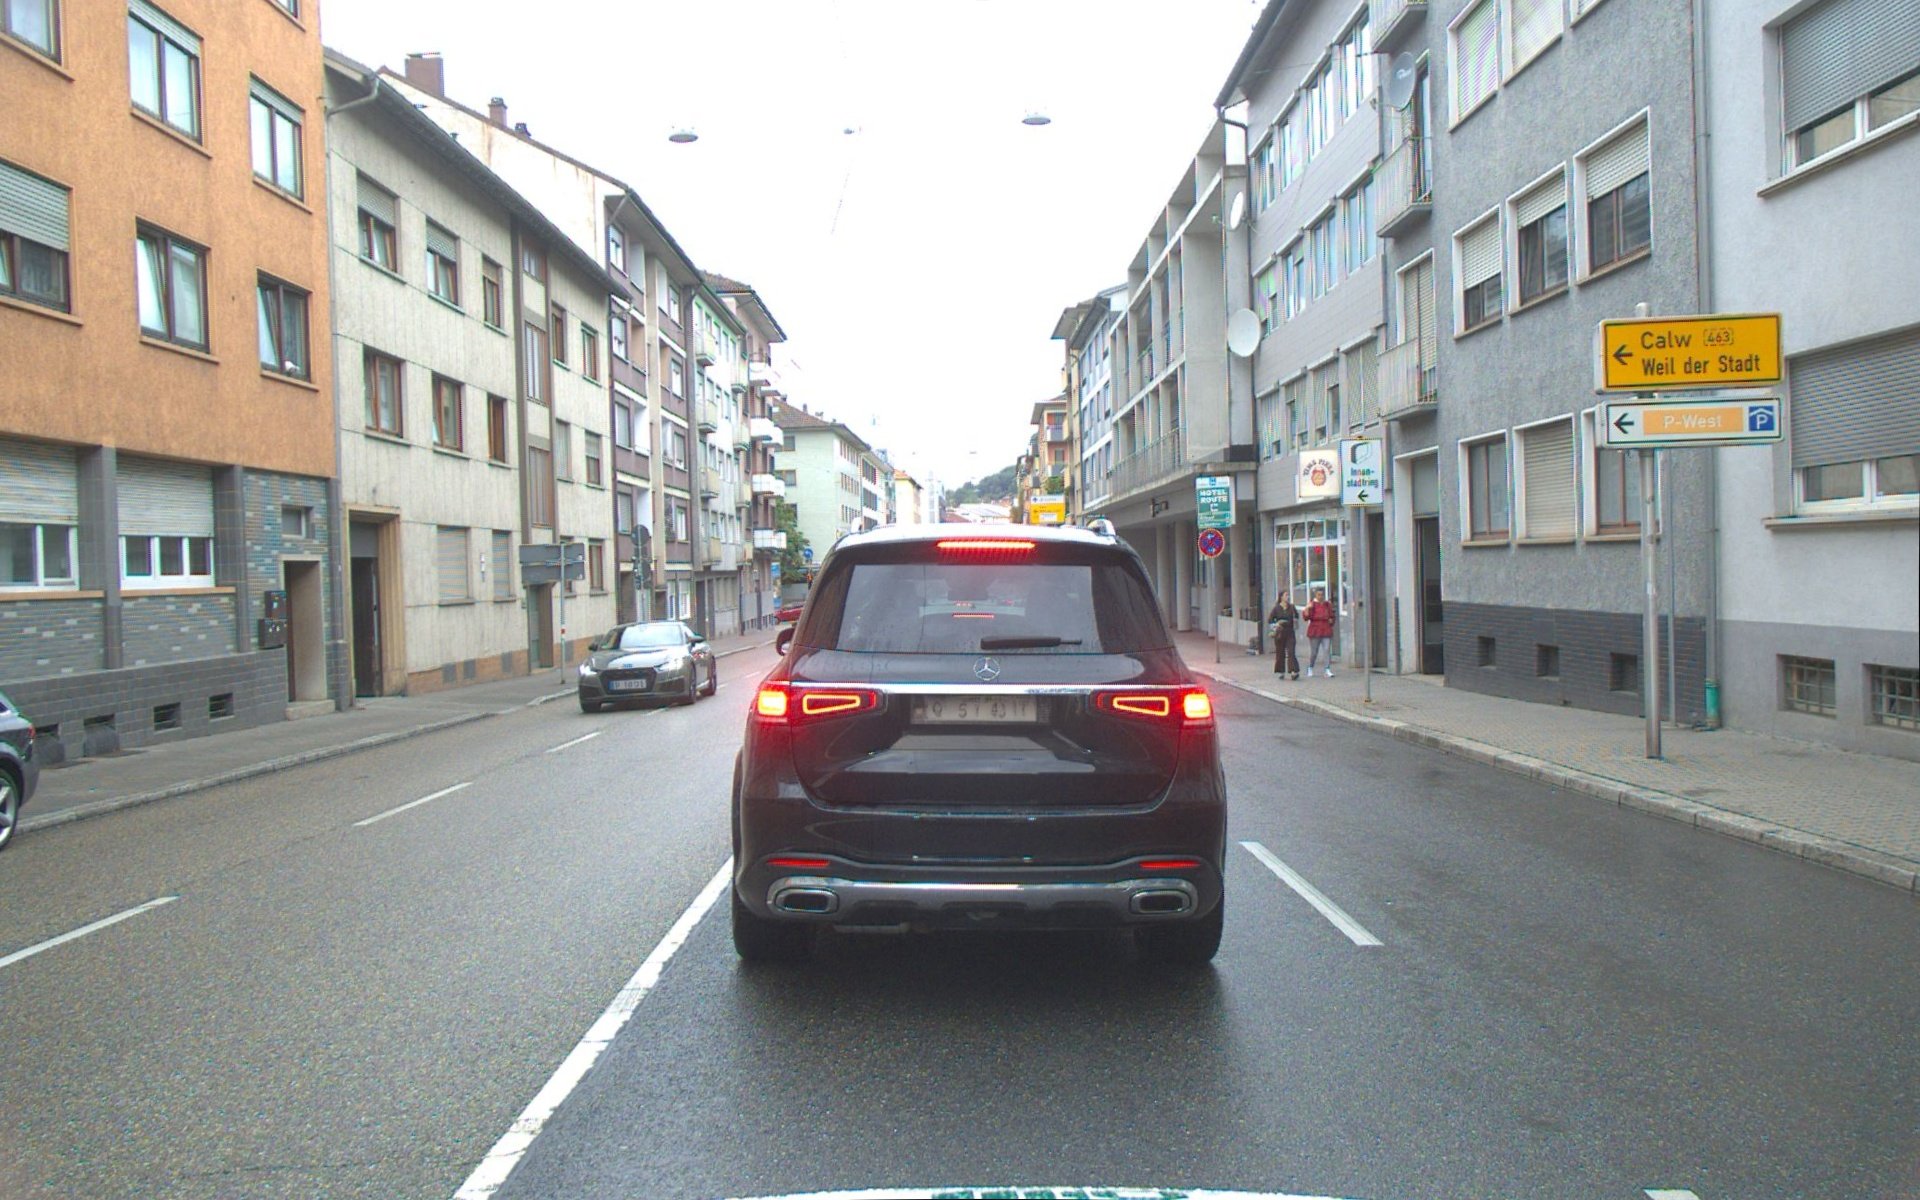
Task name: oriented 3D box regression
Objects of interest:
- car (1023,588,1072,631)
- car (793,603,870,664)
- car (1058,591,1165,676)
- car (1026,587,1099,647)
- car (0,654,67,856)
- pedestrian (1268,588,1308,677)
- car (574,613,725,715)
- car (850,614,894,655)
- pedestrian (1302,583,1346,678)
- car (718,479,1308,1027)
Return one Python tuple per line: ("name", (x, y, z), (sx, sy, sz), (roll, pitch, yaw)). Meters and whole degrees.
("car", (3.410, 0.371, 65.254), (1.771, 1.634, 4.212), (0, 0, 1))
("car", (-3.304, 0.827, 43.181), (1.690, 1.414, 4.338), (-3, 0, -1))
("car", (2.993, 0.636, 33.420), (1.731, 1.608, 3.999), (0, 0, -1))
("car", (3.205, 0.523, 52.377), (1.901, 1.806, 4.745), (0, 0, -1))
("car", (-7.963, 1.158, 10.901), (1.759, 1.463, 4.525), (1, 0, -1))
("pedestrian", (5.785, 0.561, 29.176), (0.496, 1.526, 0.562), (-4, 0, -2))
("car", (-5.042, 1.004, 27.344), (1.732, 1.369, 3.888), (-5, 0, -1))
("car", (-3.909, 1.521, 73.802), (1.698, 1.602, 4.010), (-5, 0, -1))
("pedestrian", (6.398, 0.528, 29.065), (0.549, 1.606, 0.526), (-4, 0, -2))
("car", (0.142, 0.523, 7.644), (1.984, 1.837, 3.999), (1, 0, -1))
